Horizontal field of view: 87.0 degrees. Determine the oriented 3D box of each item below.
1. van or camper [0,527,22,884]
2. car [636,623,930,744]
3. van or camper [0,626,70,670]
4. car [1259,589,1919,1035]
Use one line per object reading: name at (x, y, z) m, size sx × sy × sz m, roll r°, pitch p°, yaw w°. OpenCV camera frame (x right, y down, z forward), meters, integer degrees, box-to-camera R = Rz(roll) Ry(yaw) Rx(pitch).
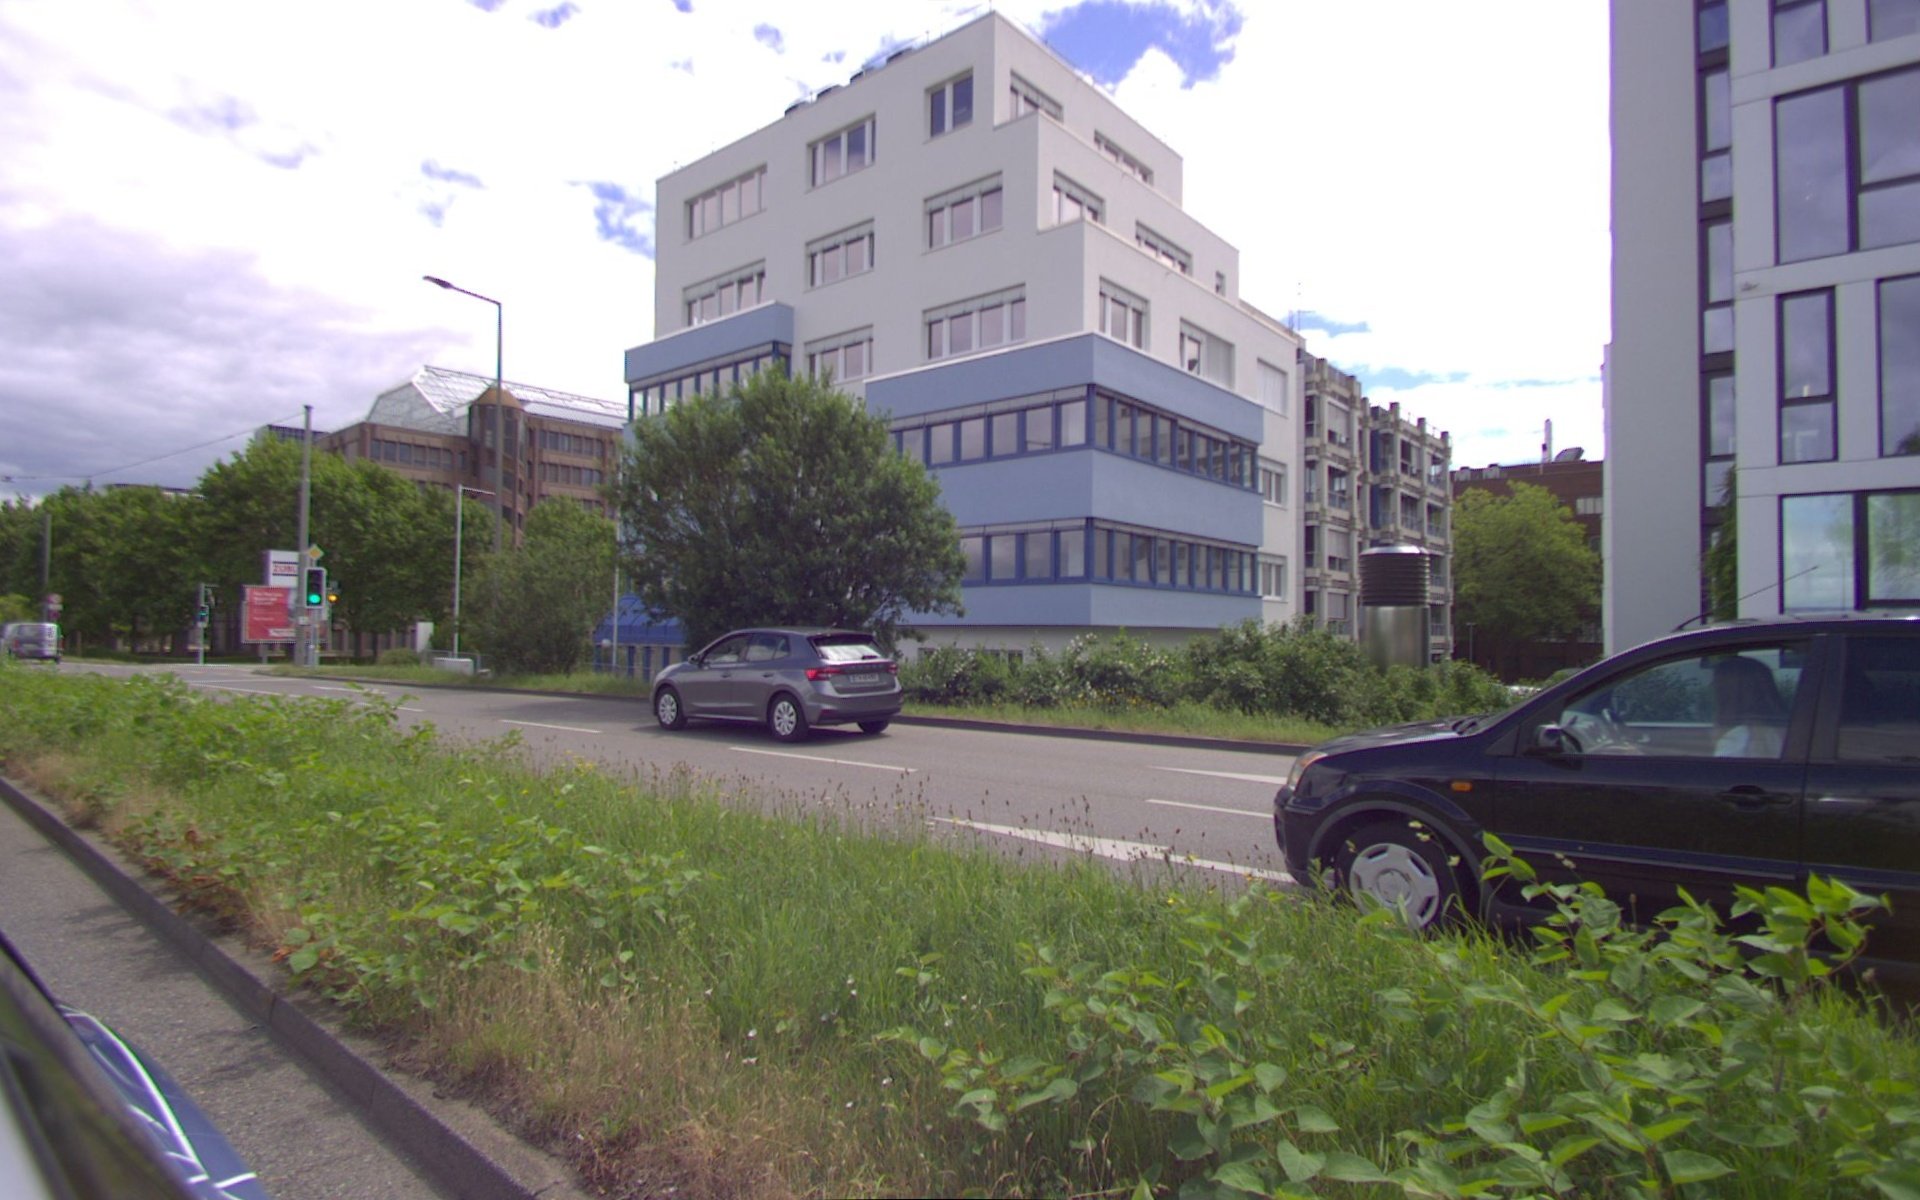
van or camper at (-8.297, 0.633, 6.843) m, size 5.792 × 2.029 × 1.974 m, roll -2°, pitch -3°, yaw 38°
car at (-2.529, 1.045, 13.938) m, size 3.998 × 1.409 × 1.912 m, roll -2°, pitch -2°, yaw 41°
van or camper at (-44.746, 2.276, 48.699) m, size 4.809 × 2.029 × 1.974 m, roll -1°, pitch -2°, yaw 38°
car at (3.511, 0.730, 4.254) m, size 3.998 × 1.494 × 1.661 m, roll -2°, pitch -2°, yaw 41°
